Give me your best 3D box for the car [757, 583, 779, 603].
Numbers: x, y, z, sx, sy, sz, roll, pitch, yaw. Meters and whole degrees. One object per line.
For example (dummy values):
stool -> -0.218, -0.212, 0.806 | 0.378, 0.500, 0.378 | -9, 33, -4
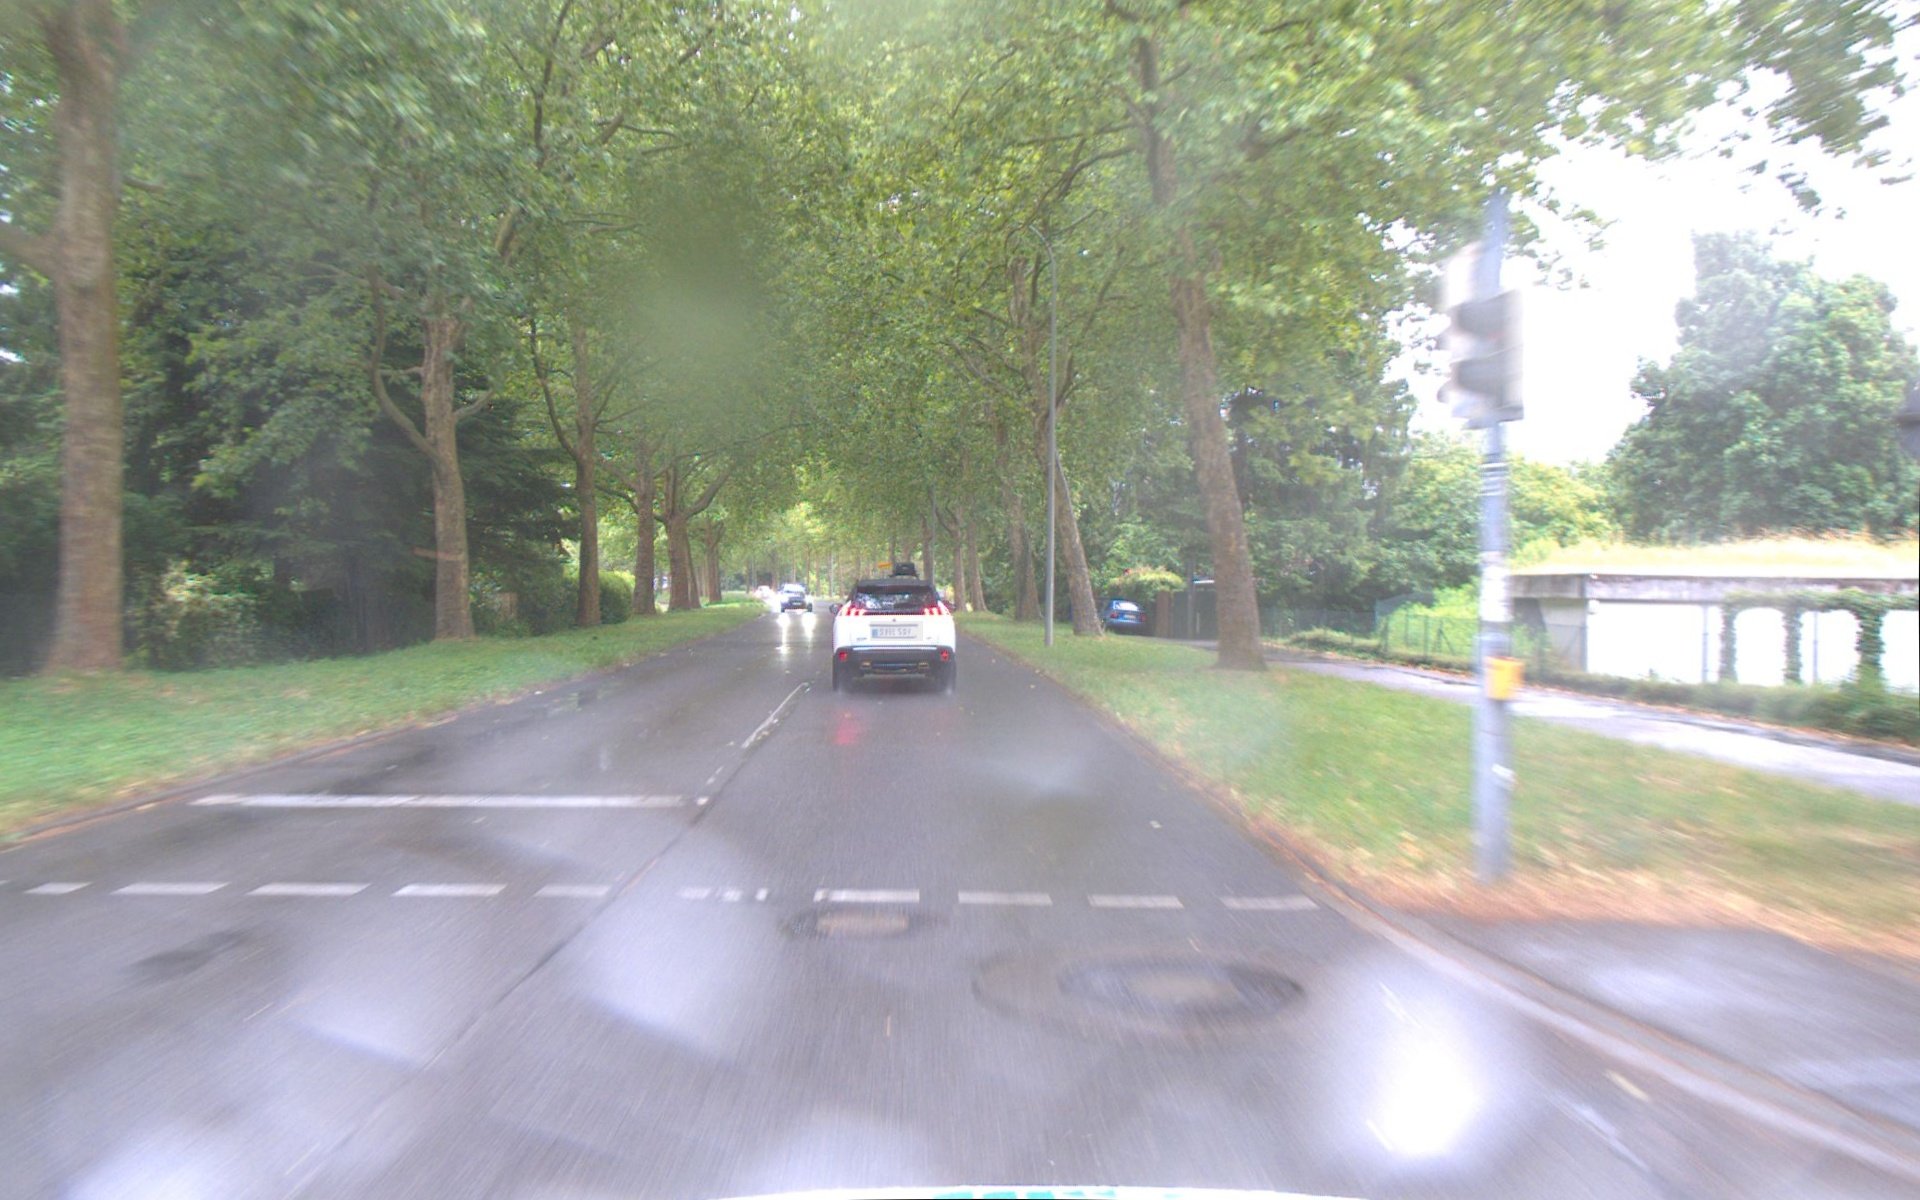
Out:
car -> -20.337, -0.734, 175.366 | 1.953, 2.049, 3.999 | 1, 1, -1

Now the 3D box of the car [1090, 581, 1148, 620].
car -> 6.468, 0.003, 67.667 | 1.867, 1.536, 3.930 | 1, 0, -2

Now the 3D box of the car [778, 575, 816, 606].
car -> -9.193, -0.549, 93.351 | 1.836, 1.706, 3.707 | 1, 0, -2

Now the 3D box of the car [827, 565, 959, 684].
car -> -1.002, 0.347, 24.394 | 1.745, 1.563, 4.055 | 2, 0, -3
